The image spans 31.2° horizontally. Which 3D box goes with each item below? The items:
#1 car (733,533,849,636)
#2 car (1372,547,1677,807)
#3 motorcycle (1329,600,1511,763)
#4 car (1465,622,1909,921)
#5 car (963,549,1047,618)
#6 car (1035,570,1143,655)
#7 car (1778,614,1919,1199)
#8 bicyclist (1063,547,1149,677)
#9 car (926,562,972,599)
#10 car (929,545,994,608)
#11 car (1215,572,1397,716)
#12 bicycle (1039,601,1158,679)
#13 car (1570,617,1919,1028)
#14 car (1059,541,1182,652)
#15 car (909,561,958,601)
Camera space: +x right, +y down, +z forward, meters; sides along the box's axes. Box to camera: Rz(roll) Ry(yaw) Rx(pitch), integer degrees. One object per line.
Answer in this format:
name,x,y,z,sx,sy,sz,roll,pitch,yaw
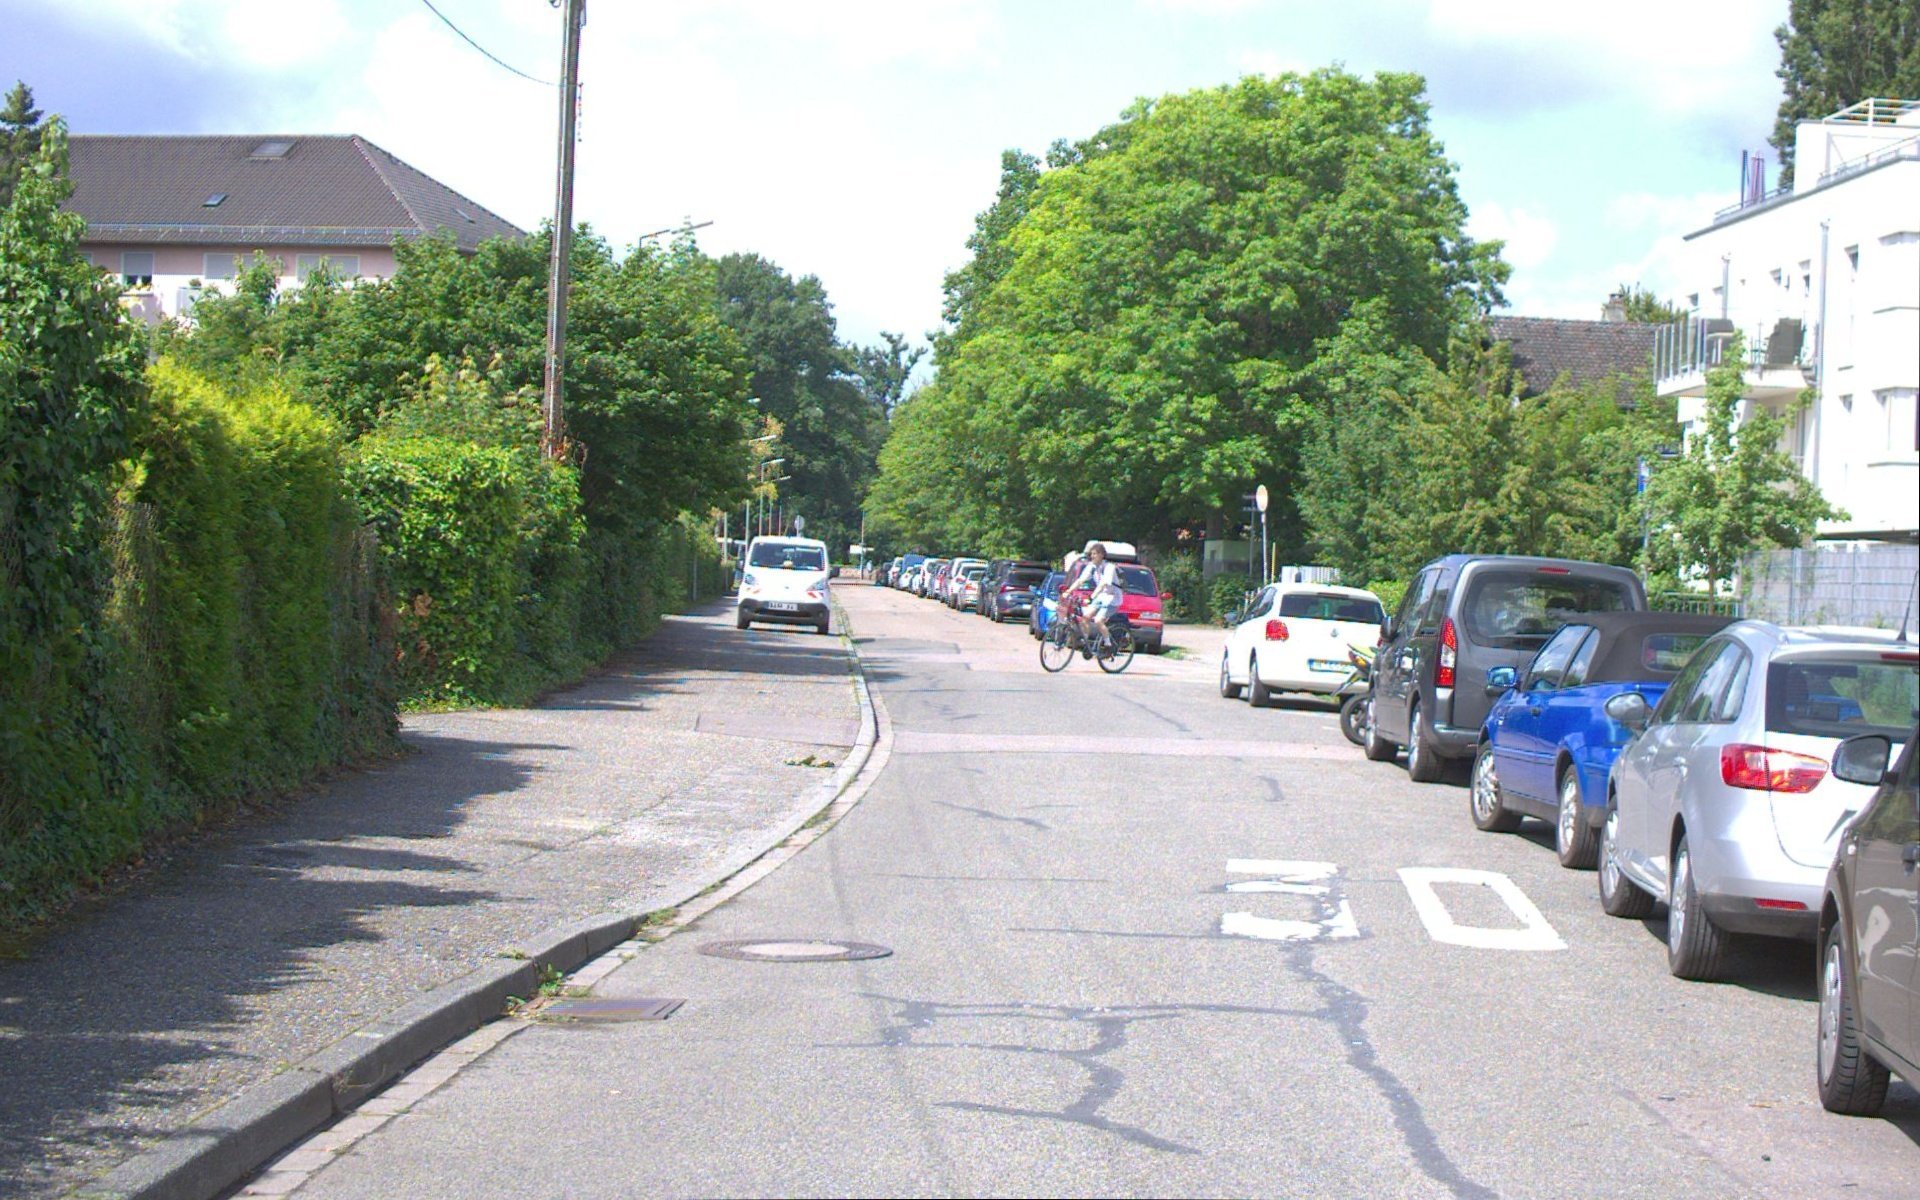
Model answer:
car,-3.211,-0.304,65.861,1.902,1.808,4.000,3,0,0
car,4.358,0.560,27.029,1.874,1.800,3.432,3,0,3
motorcycle,4.114,0.721,30.836,1.427,1.357,0.869,3,0,-1
car,4.081,0.911,19.821,1.663,1.430,3.542,3,0,-1
car,1.173,-0.427,90.367,2.058,1.646,4.541,3,0,0
car,2.727,0.250,73.447,2.058,1.646,4.541,3,0,0
car,3.307,0.868,8.993,1.664,1.547,3.636,3,0,5
bicyclist,2.065,0.176,48.645,0.786,1.779,0.892,4,0,30
car,-0.492,-0.895,160.292,1.852,1.612,4.000,3,0,2
car,0.058,-0.790,115.763,2.058,1.955,4.541,3,0,0
car,4.018,0.480,40.444,1.679,1.514,4.000,3,0,0
bicycle,1.971,0.574,48.586,0.860,1.023,1.817,4,0,31
car,3.703,0.855,14.503,1.663,1.434,3.744,3,0,3
car,3.035,-0.080,65.847,2.058,1.919,4.541,3,0,0
car,-1.111,-0.806,145.312,1.852,1.612,4.000,2,0,2
